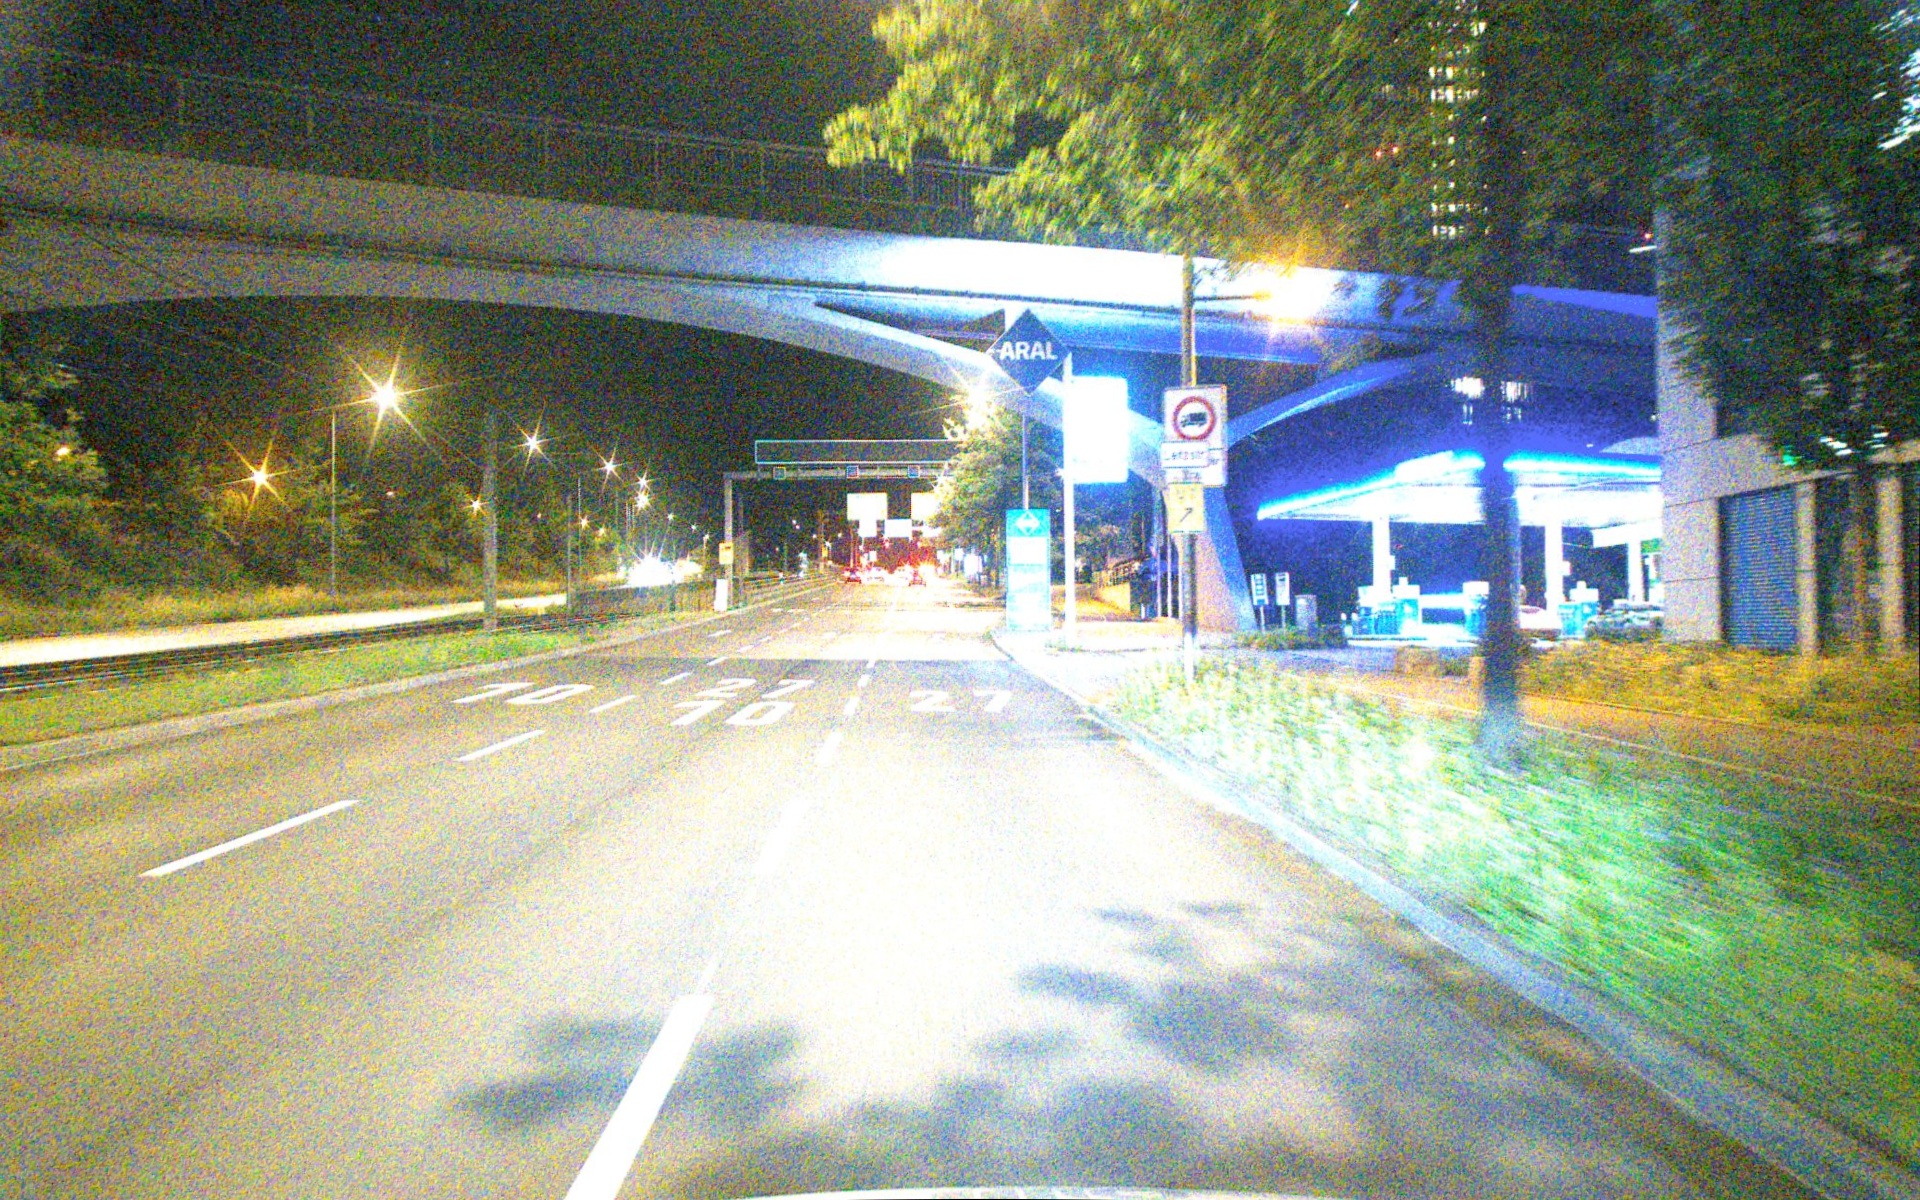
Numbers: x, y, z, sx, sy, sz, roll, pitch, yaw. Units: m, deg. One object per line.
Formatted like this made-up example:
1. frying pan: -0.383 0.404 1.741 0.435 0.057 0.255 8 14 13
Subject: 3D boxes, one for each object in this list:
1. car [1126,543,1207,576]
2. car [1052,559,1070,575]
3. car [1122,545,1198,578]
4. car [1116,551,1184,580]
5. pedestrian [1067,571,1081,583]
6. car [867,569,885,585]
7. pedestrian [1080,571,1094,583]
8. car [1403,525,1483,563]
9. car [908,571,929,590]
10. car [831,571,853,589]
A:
1. car: 10.977 -2.140 88.117 4.035 1.549 1.822 -2 -1 0
2. car: 10.568 -3.435 172.819 1.852 1.538 3.638 1 0 5
3. car: 10.922 -2.096 90.586 3.906 1.598 1.738 -2 0 0
4. car: 10.938 -1.980 95.388 3.651 1.515 1.741 -2 -1 -4
5. pedestrian: 9.872 -1.993 143.414 0.897 1.056 0.767 -1 0 41
6. car: -9.953 -2.714 195.566 1.748 1.741 3.994 1 0 -7
7. pedestrian: 11.005 -1.985 143.582 0.982 1.025 0.768 1 -1 -17
8. car: 25.840 -2.988 88.538 3.734 1.928 1.751 0 0 -5
9. car: -4.065 -1.862 162.096 1.927 1.741 4.000 1 0 0
10. car: -12.147 -2.021 170.910 1.927 1.741 4.000 1 0 0
